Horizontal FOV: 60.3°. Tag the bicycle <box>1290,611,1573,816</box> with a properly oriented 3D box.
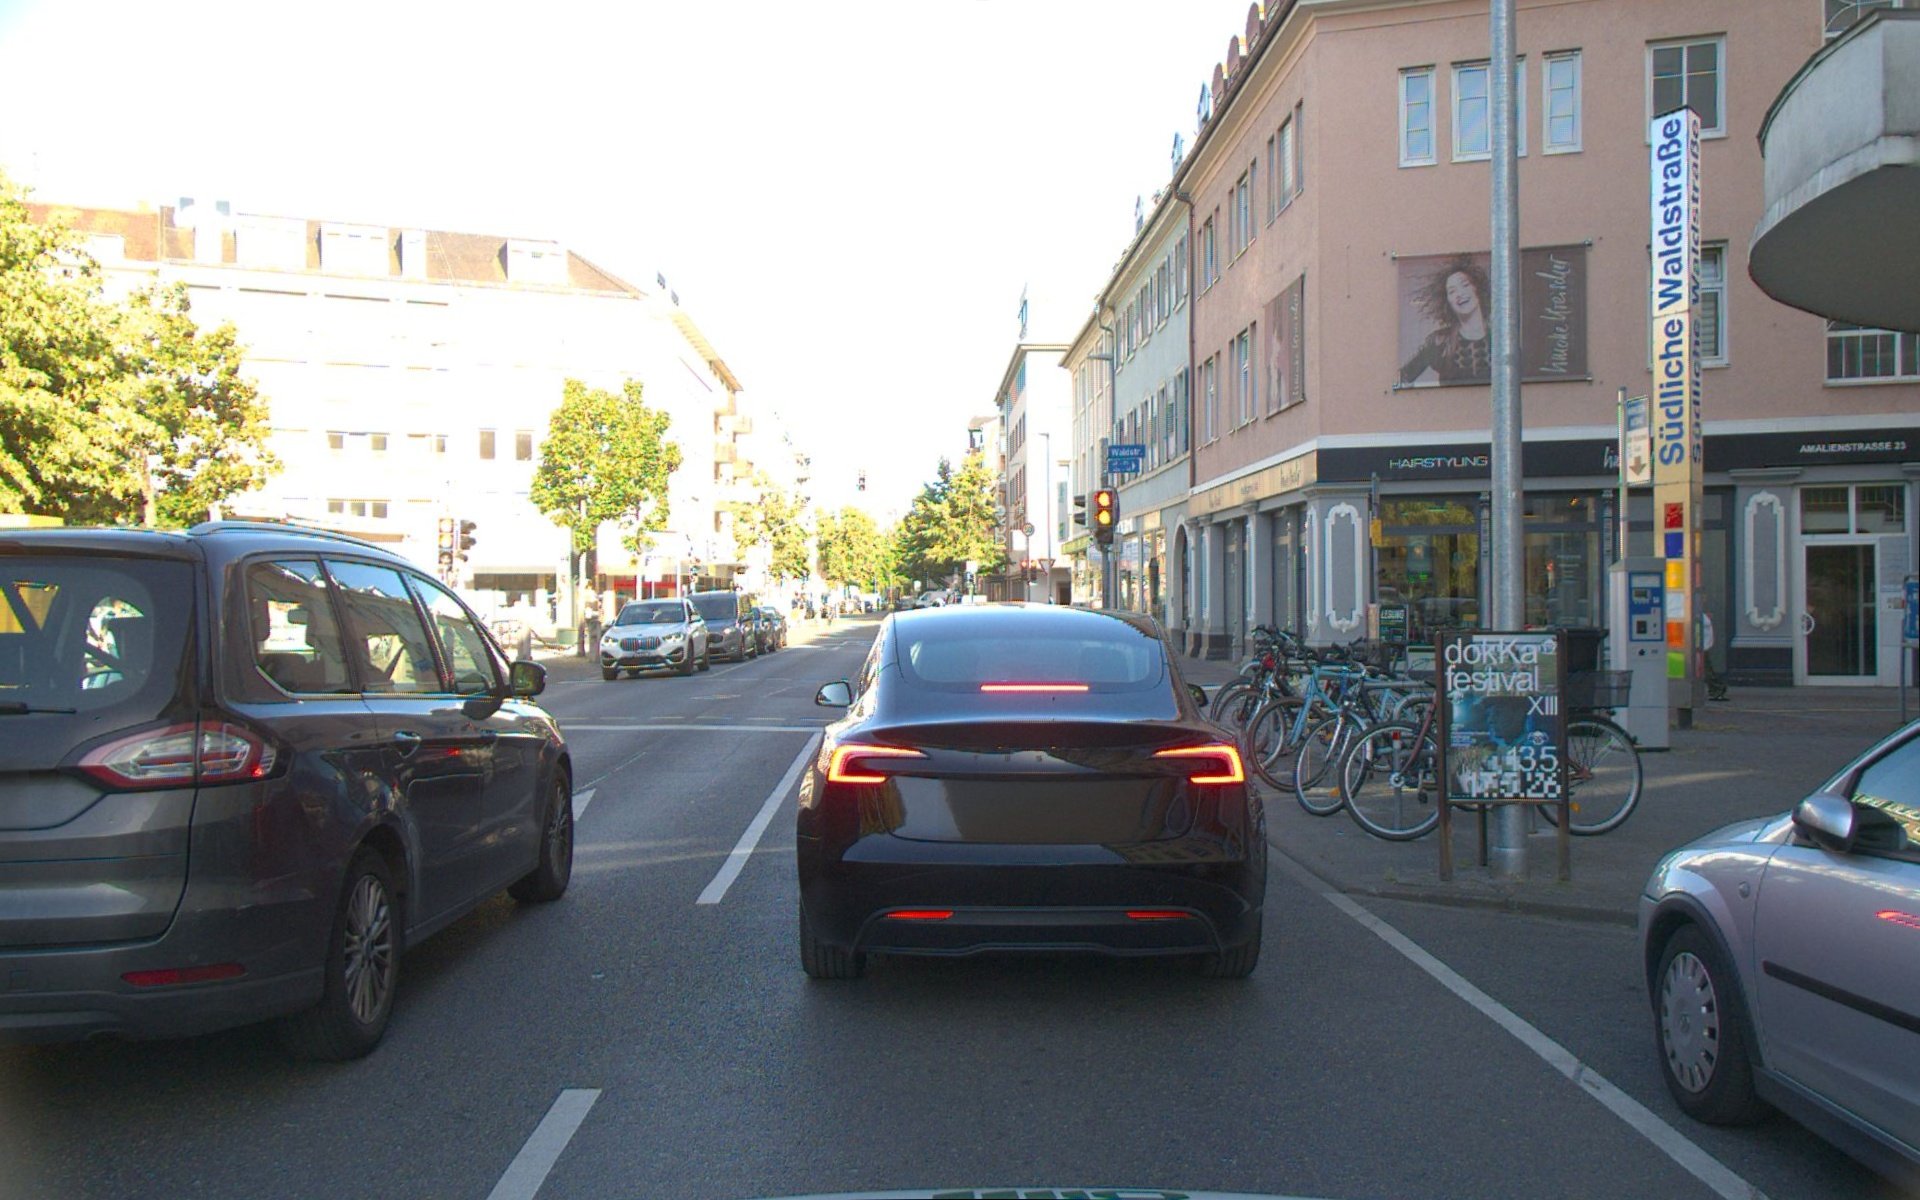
[{"bbox_3d":[3.141,0.745,11.158,1.686,1.290,0.791,-2,0,5],"label":"bicycle"}]

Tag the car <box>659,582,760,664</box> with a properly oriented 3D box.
[{"bbox_3d":[-6.367,0.535,42.502,1.797,1.877,4.674,-4,0,0],"label":"car"}]

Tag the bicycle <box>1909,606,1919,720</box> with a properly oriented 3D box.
[{"bbox_3d":[10.354,0.669,16.934,0.645,1.220,2.212,0,0,18],"label":"bicycle"}]

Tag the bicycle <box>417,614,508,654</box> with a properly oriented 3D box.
[{"bbox_3d":[-14.889,1.012,49.565,2.485,1.176,0.841,0,0,-6],"label":"bicycle"}]

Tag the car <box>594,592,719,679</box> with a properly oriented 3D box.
[{"bbox_3d":[-6.268,0.687,34.580,1.770,1.582,4.309,-4,0,-1],"label":"car"}]

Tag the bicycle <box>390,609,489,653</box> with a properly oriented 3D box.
[{"bbox_3d":[-14.103,0.839,44.888,2.412,1.176,0.842,0,0,-2],"label":"bicycle"}]

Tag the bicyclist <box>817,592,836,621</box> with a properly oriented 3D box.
[{"bbox_3d":[-7.715,0.373,95.494,1.104,1.657,0.964,0,0,-4],"label":"bicyclist"}]

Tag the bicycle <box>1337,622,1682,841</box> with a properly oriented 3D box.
[{"bbox_3d":[3.288,0.779,10.028,1.846,1.214,0.692,-2,1,5],"label":"bicycle"}]

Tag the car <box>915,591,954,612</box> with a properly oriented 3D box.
[{"bbox_3d":[-2.573,0.167,167.516,3.907,2.049,1.999,0,0,-2],"label":"car"}]

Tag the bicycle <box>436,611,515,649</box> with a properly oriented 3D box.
[{"bbox_3d":[-15.213,0.938,51.988,2.279,1.176,0.841,0,0,-6],"label":"bicycle"}]

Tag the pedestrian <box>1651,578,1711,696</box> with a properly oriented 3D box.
[{"bbox_3d":[9.829,0.489,22.552,0.732,1.579,0.699,0,0,24],"label":"pedestrian"}]

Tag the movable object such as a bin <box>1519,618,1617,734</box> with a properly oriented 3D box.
[{"bbox_3d":[6.046,0.745,16.465,0.737,1.111,0.627,1,0,1],"label":"movable object such as a bin"}]

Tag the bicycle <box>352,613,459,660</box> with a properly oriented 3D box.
[{"bbox_3d":[-14.189,0.919,42.354,2.455,1.176,0.842,0,0,-2],"label":"bicycle"}]

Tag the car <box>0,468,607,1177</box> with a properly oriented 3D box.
[{"bbox_3d":[-2.819,0.567,6.568,1.953,1.803,4.726,-1,0,-2],"label":"car"}]

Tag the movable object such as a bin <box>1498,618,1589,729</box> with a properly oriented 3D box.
[{"bbox_3d":[6.025,0.747,17.102,0.718,1.111,0.627,1,0,1],"label":"movable object such as a bin"}]

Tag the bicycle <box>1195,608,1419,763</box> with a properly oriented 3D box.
[{"bbox_3d":[3.055,0.744,14.717,1.822,1.280,0.833,-2,0,5],"label":"bicycle"}]

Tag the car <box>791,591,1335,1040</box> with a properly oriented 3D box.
[{"bbox_3d":[0.317,0.719,7.497,1.810,1.480,3.999,0,0,-1],"label":"car"}]

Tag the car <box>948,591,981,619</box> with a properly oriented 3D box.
[{"bbox_3d":[0.257,0.287,100.773,1.953,1.657,3.999,0,0,-1],"label":"car"}]

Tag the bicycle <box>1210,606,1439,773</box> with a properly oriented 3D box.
[{"bbox_3d":[2.990,0.722,13.686,1.709,1.289,0.781,-2,0,2],"label":"bicycle"}]

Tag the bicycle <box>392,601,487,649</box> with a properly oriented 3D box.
[{"bbox_3d":[-14.711,0.694,46.811,2.429,1.347,0.921,0,0,-6],"label":"bicycle"}]

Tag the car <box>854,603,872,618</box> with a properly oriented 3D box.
[{"bbox_3d":[-10.988,1.221,186.892,1.954,1.666,3.997,0,0,-4],"label":"car"}]

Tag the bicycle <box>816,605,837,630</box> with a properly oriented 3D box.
[{"bbox_3d":[-7.699,1.000,95.401,1.089,1.368,3.997,0,0,-4],"label":"bicycle"}]

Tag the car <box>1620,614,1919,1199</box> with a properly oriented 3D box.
[{"bbox_3d":[2.933,0.773,3.517,1.580,1.406,3.642,1,0,0],"label":"car"}]

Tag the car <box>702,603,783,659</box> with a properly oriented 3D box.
[{"bbox_3d":[-6.421,0.882,49.324,1.954,1.434,4.671,-4,0,-3],"label":"car"}]

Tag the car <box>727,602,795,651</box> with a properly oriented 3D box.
[{"bbox_3d":[-6.804,0.871,56.909,1.954,1.461,4.671,-4,0,-3],"label":"car"}]

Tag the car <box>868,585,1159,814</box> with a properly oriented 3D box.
[{"bbox_3d":[0.290,0.663,13.206,1.953,1.538,4.173,0,0,-2],"label":"car"}]

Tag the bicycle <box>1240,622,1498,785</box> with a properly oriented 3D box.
[{"bbox_3d":[3.058,0.767,12.508,1.760,1.144,0.782,-2,0,5],"label":"bicycle"}]
